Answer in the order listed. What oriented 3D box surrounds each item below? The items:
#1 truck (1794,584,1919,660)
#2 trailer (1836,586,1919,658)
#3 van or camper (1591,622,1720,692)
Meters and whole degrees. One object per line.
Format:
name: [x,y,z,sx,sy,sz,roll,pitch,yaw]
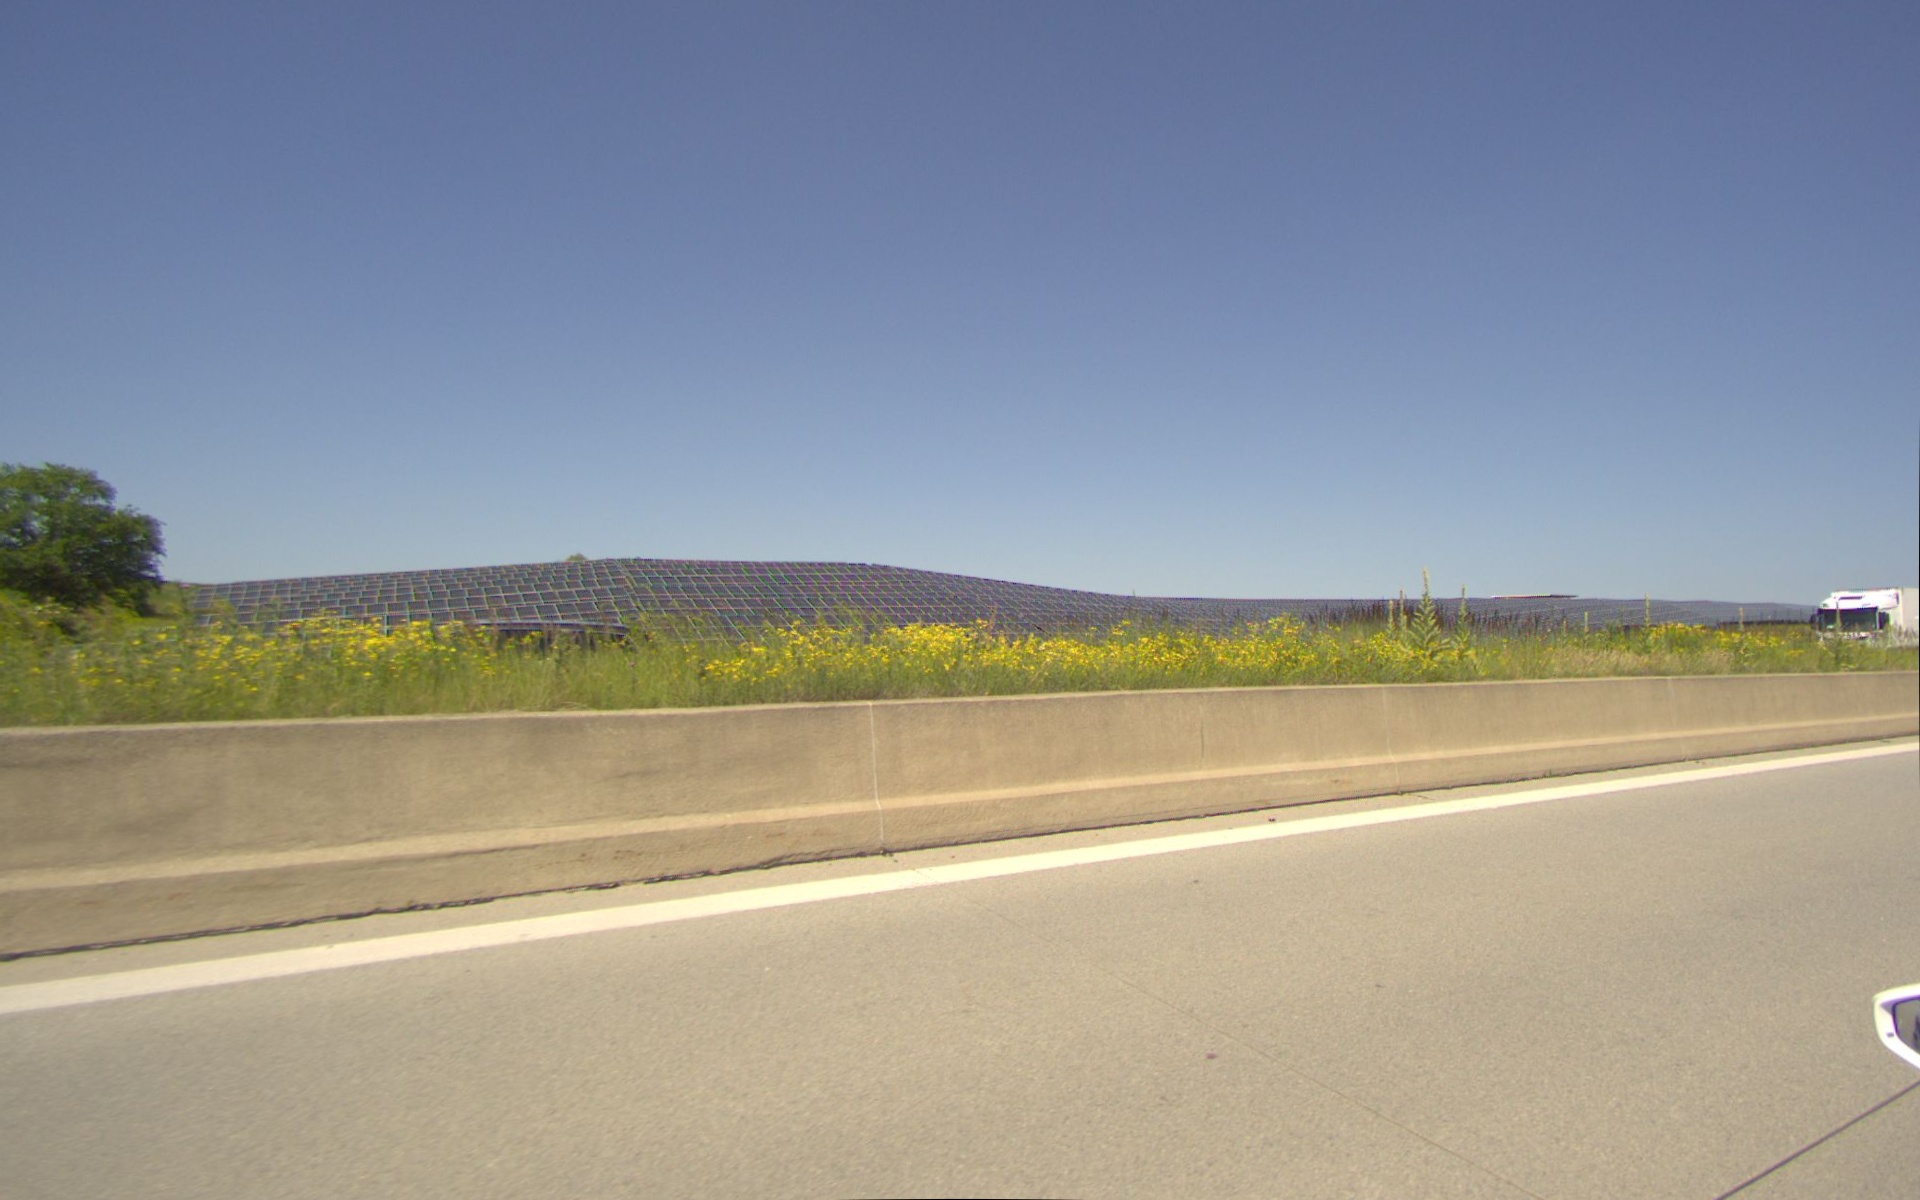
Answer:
truck: [45.142,1.121,50.208,6.804,3.533,3.108,2,0,-30]
trailer: [51.364,1.247,53.792,11.625,3.571,3.060,2,0,-30]
van or camper: [21.320,1.711,30.760,3.904,1.996,1.754,1,0,-30]
